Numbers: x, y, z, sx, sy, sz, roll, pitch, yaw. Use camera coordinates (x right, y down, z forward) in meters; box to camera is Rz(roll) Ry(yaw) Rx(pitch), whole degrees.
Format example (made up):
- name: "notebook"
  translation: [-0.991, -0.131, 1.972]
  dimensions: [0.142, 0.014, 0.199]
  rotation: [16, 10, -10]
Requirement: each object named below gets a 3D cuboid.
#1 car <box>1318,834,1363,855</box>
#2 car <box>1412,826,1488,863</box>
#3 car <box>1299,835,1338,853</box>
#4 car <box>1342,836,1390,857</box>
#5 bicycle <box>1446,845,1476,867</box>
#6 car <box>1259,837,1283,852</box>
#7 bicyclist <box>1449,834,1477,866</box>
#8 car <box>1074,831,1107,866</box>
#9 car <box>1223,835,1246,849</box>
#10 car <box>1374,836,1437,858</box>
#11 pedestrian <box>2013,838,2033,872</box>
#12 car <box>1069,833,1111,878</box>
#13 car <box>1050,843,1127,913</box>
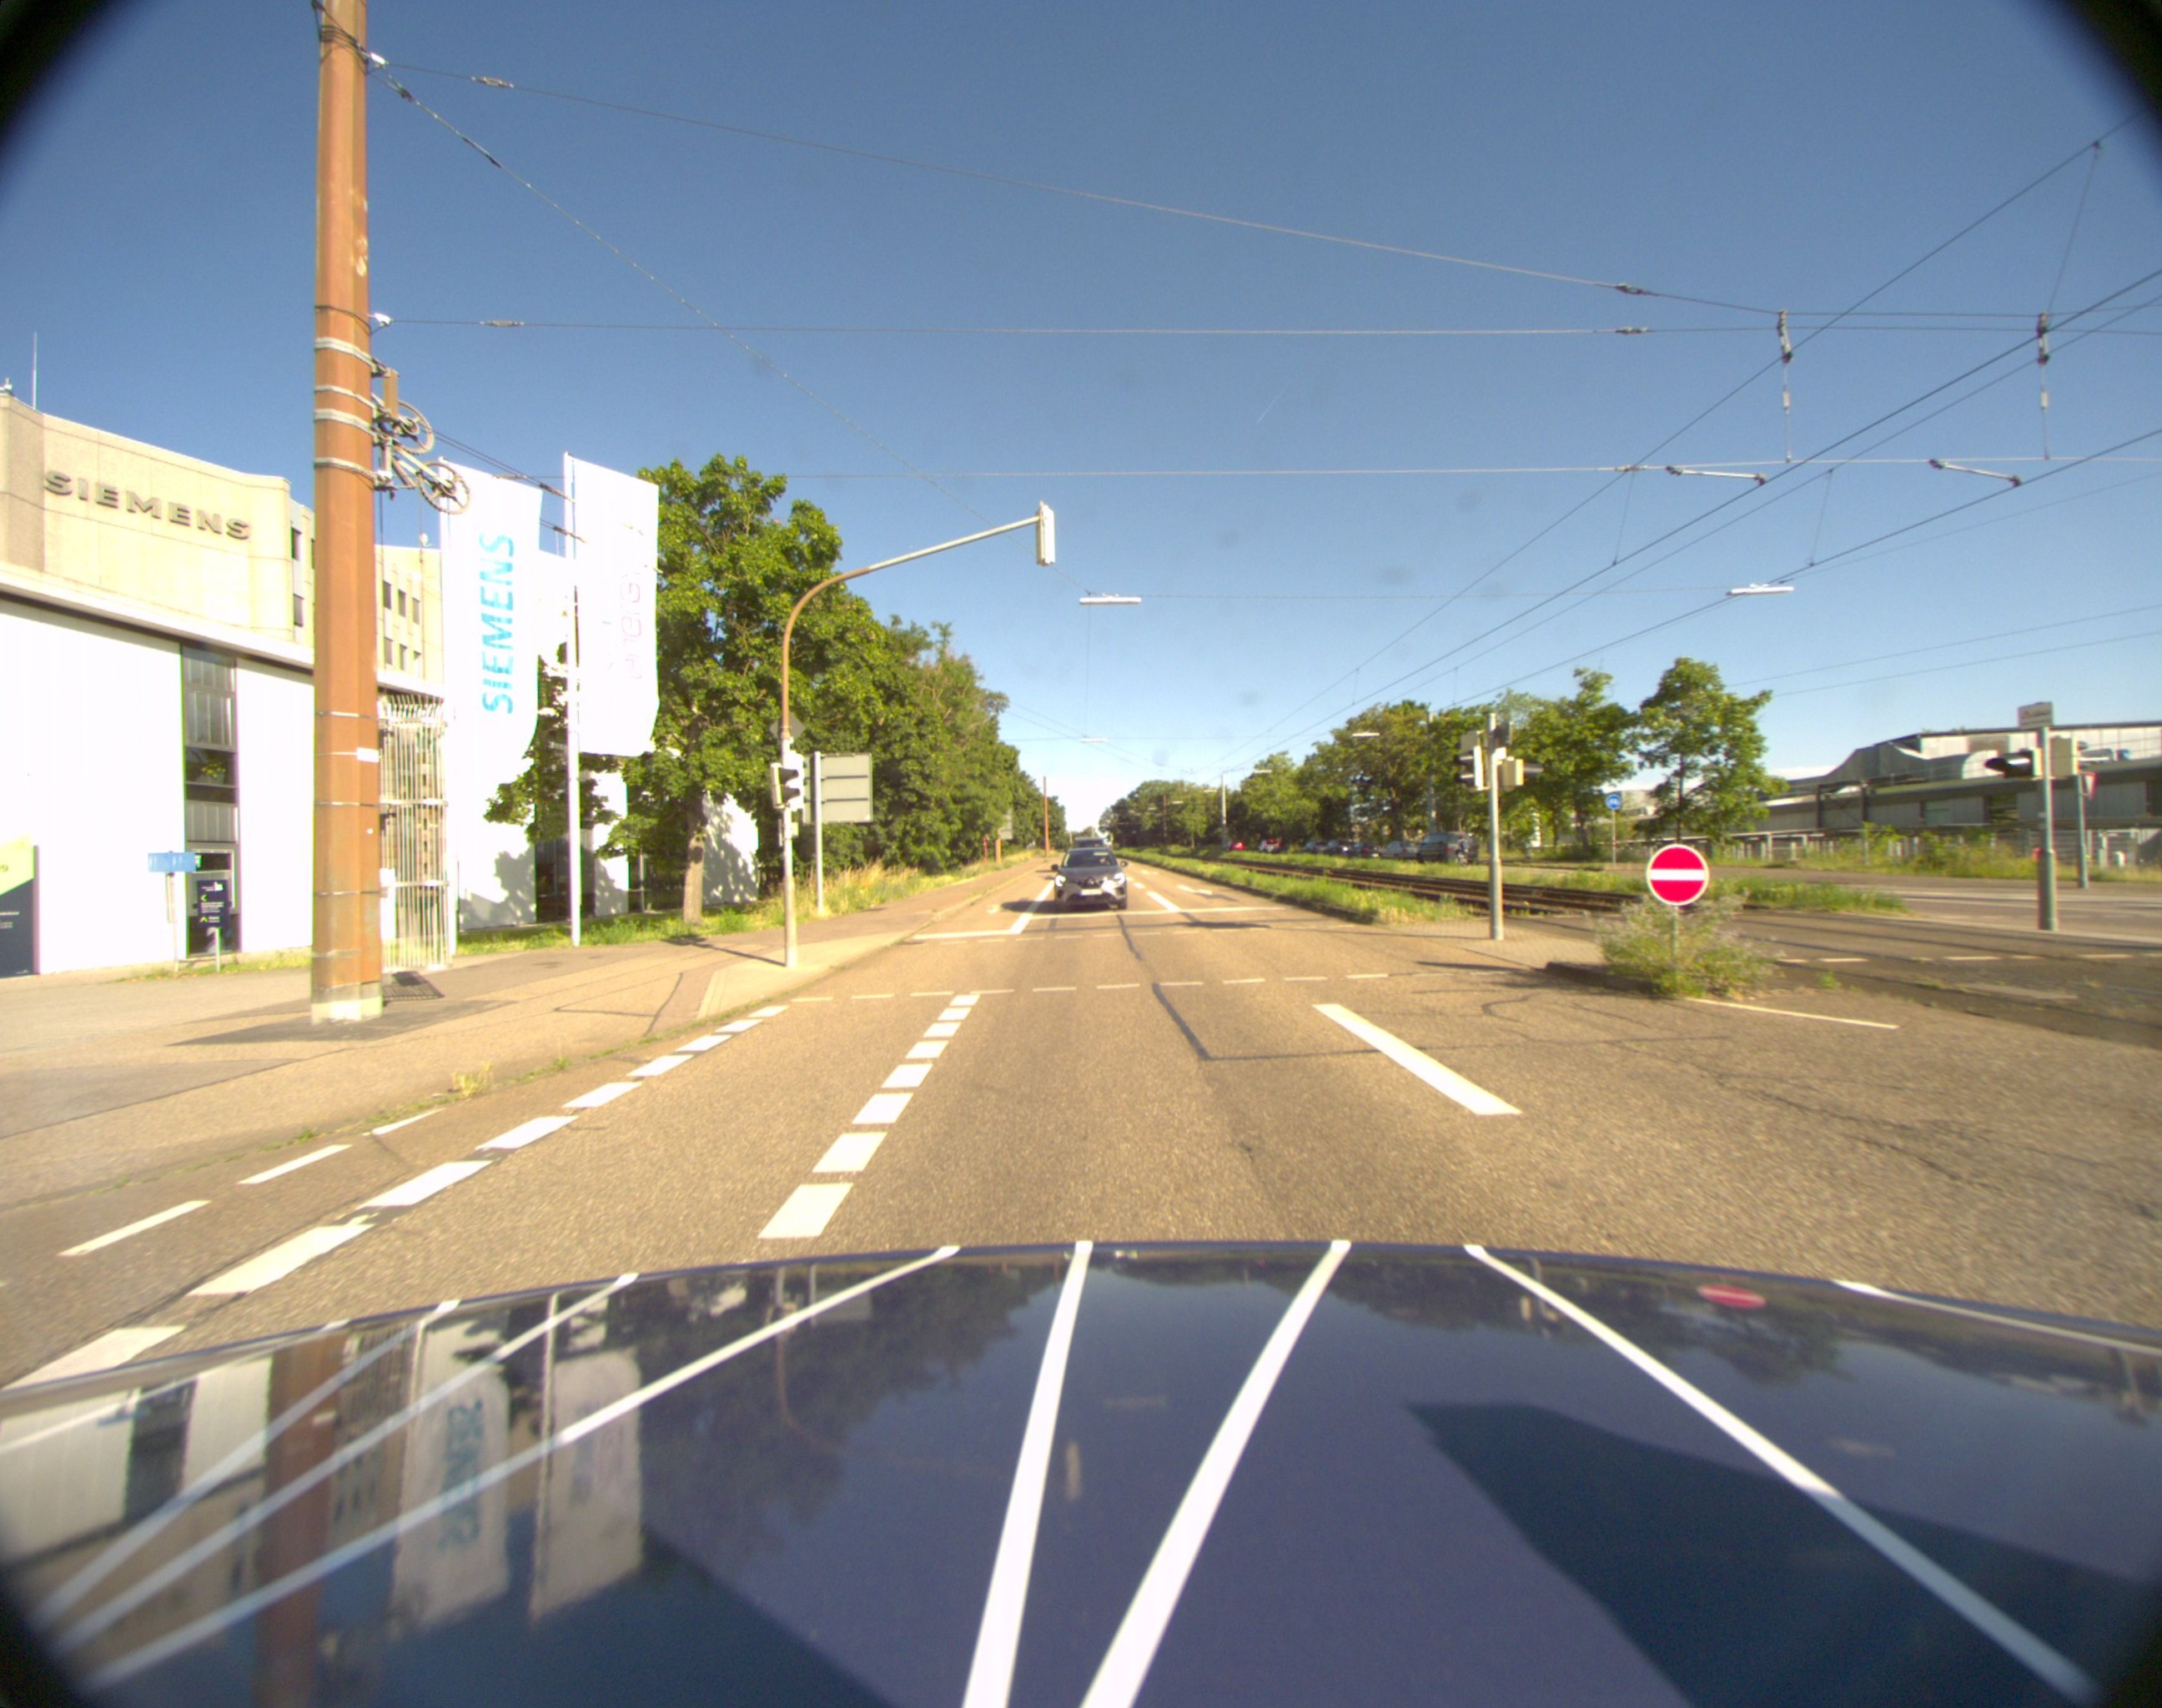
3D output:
- name: "car"
  translation: [21.451, -0.810, 63.040]
  dimensions: [2.130, 1.578, 4.616]
  rotation: [-2, 1, 1]
- name: "car"
  translation: [21.444, -0.548, 44.383]
  dimensions: [2.207, 1.923, 4.685]
  rotation: [-2, 1, 2]
- name: "car"
  translation: [21.679, -0.930, 69.621]
  dimensions: [2.130, 1.555, 4.559]
  rotation: [-2, 1, 0]
- name: "car"
  translation: [21.516, -0.579, 57.547]
  dimensions: [1.960, 1.418, 4.488]
  rotation: [-2, 1, 1]
- name: "bicycle"
  translation: [19.903, 0.104, 39.797]
  dimensions: [0.698, 1.096, 1.781]
  rotation: [-2, 1, 1]
- name: "car"
  translation: [21.425, -1.066, 85.969]
  dimensions: [1.859, 1.549, 4.157]
  rotation: [-2, 1, 4]
- name: "bicyclist"
  translation: [19.886, -0.218, 39.586]
  dimensions: [0.804, 1.584, 1.236]
  rotation: [-2, 1, 1]
- name: "car"
  translation: [0.587, -0.376, 50.913]
  dimensions: [1.999, 2.198, 4.785]
  rotation: [-1, 0, -2]
- name: "car"
  translation: [20.958, -1.592, 103.665]
  dimensions: [2.321, 1.723, 4.797]
  rotation: [-2, 1, 3]
- name: "car"
  translation: [21.745, -0.466, 51.157]
  dimensions: [2.130, 1.372, 4.615]
  rotation: [-2, 1, -1]
- name: "pedestrian"
  translation: [35.636, 0.041, 28.749]
  dimensions: [0.442, 1.293, 0.440]
  rotation: [-2, 1, -42]
- name: "car"
  translation: [0.456, 0.060, 39.220]
  dimensions: [1.998, 2.113, 3.999]
  rotation: [-2, 1, 0]
- name: "car"
  translation: [0.134, 0.569, 21.080]
  dimensions: [1.796, 1.584, 4.529]
  rotation: [-3, 1, -1]
